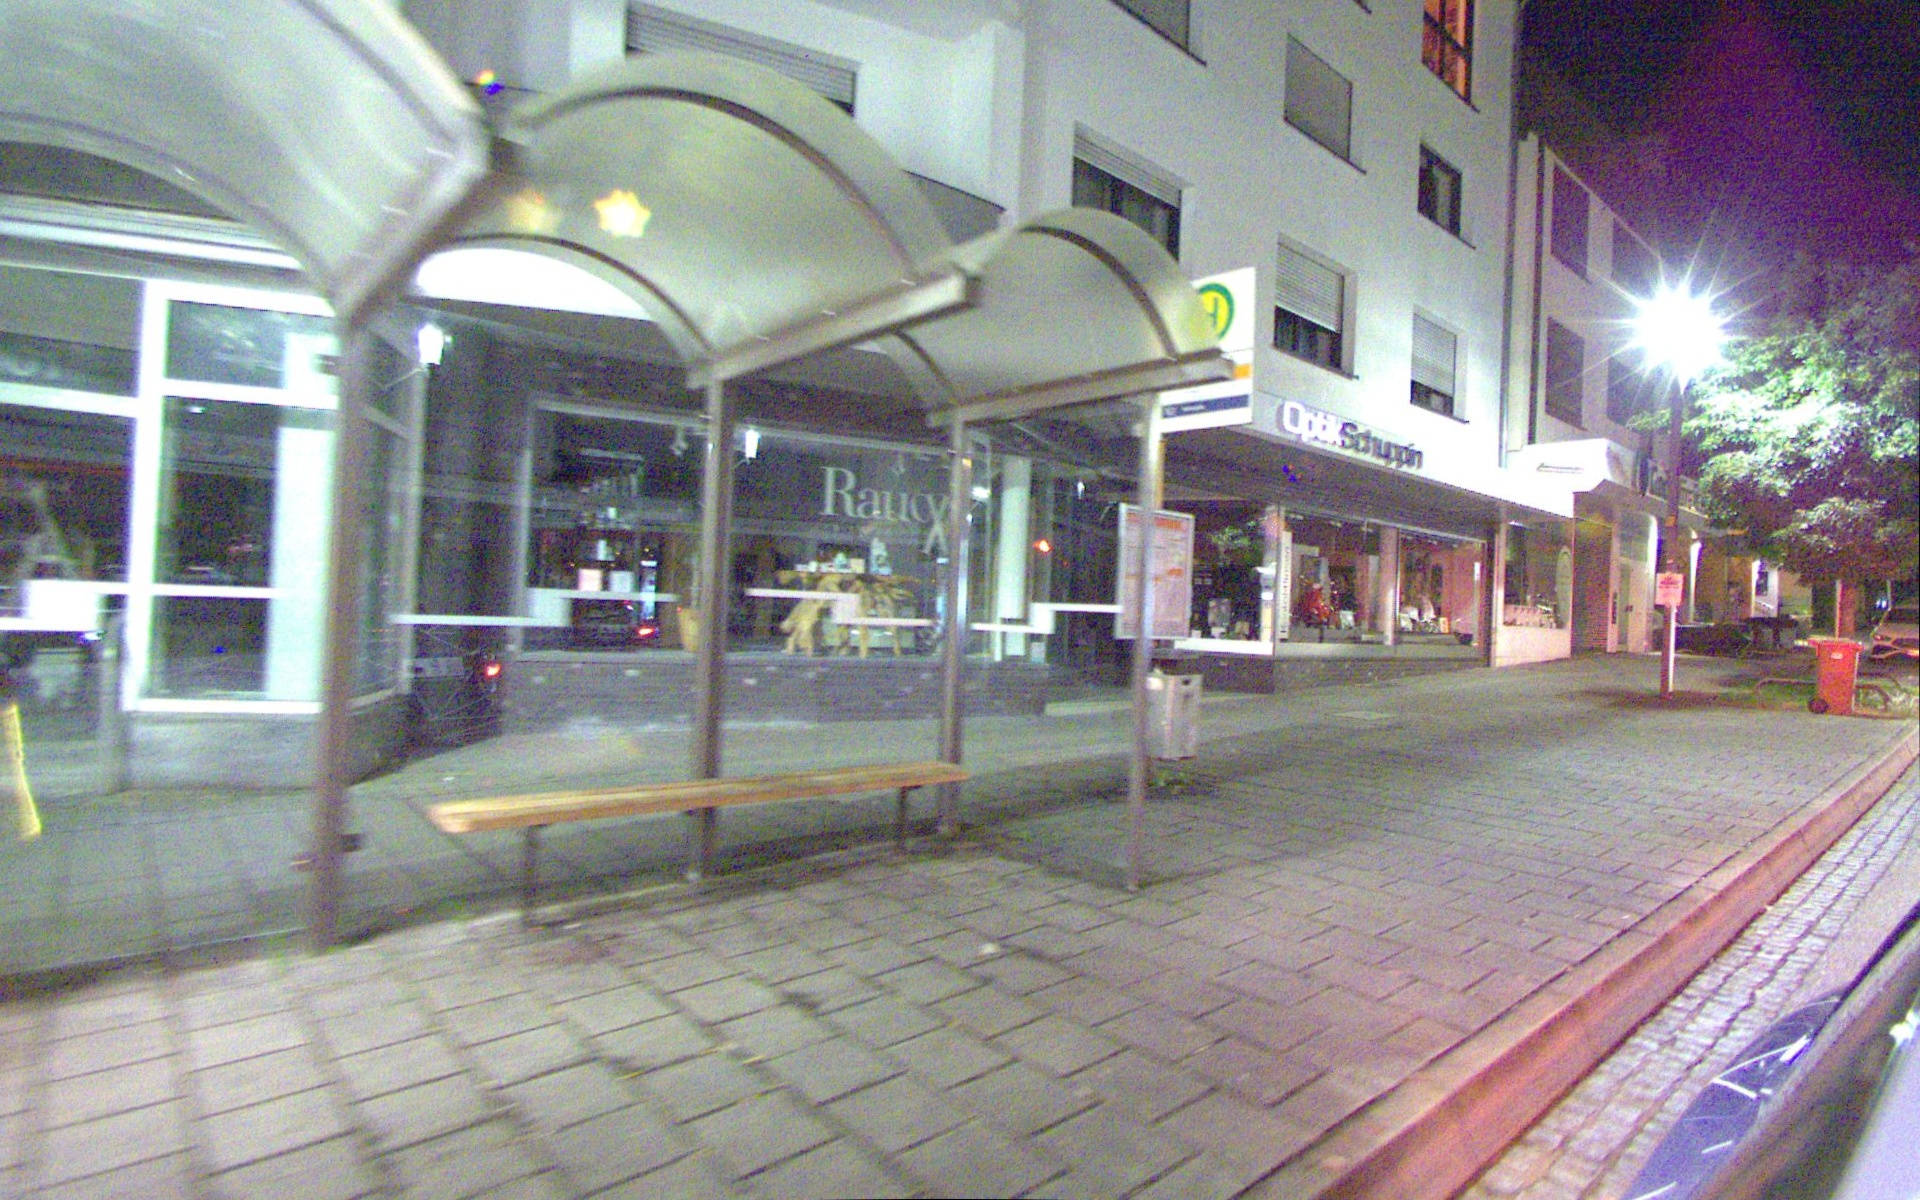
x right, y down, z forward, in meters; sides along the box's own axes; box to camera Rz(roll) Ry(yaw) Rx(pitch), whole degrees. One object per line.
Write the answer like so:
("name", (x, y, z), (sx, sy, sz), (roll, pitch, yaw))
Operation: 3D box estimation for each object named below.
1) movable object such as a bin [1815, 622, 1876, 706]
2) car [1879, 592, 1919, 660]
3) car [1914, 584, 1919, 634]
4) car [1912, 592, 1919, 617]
("movable object such as a bin", (10.772, 0.763, 12.324), (0.523, 0.948, 0.621), (0, 1, 38))
("car", (23.208, 0.589, 23.970), (4.519, 1.459, 1.859), (-1, 3, -45))
("car", (34.652, 0.324, 35.354), (1.788, 1.661, 4.309), (4, 3, 44))
("car", (59.223, 0.275, 61.730), (1.638, 1.485, 3.717), (-1, 0, 43))
